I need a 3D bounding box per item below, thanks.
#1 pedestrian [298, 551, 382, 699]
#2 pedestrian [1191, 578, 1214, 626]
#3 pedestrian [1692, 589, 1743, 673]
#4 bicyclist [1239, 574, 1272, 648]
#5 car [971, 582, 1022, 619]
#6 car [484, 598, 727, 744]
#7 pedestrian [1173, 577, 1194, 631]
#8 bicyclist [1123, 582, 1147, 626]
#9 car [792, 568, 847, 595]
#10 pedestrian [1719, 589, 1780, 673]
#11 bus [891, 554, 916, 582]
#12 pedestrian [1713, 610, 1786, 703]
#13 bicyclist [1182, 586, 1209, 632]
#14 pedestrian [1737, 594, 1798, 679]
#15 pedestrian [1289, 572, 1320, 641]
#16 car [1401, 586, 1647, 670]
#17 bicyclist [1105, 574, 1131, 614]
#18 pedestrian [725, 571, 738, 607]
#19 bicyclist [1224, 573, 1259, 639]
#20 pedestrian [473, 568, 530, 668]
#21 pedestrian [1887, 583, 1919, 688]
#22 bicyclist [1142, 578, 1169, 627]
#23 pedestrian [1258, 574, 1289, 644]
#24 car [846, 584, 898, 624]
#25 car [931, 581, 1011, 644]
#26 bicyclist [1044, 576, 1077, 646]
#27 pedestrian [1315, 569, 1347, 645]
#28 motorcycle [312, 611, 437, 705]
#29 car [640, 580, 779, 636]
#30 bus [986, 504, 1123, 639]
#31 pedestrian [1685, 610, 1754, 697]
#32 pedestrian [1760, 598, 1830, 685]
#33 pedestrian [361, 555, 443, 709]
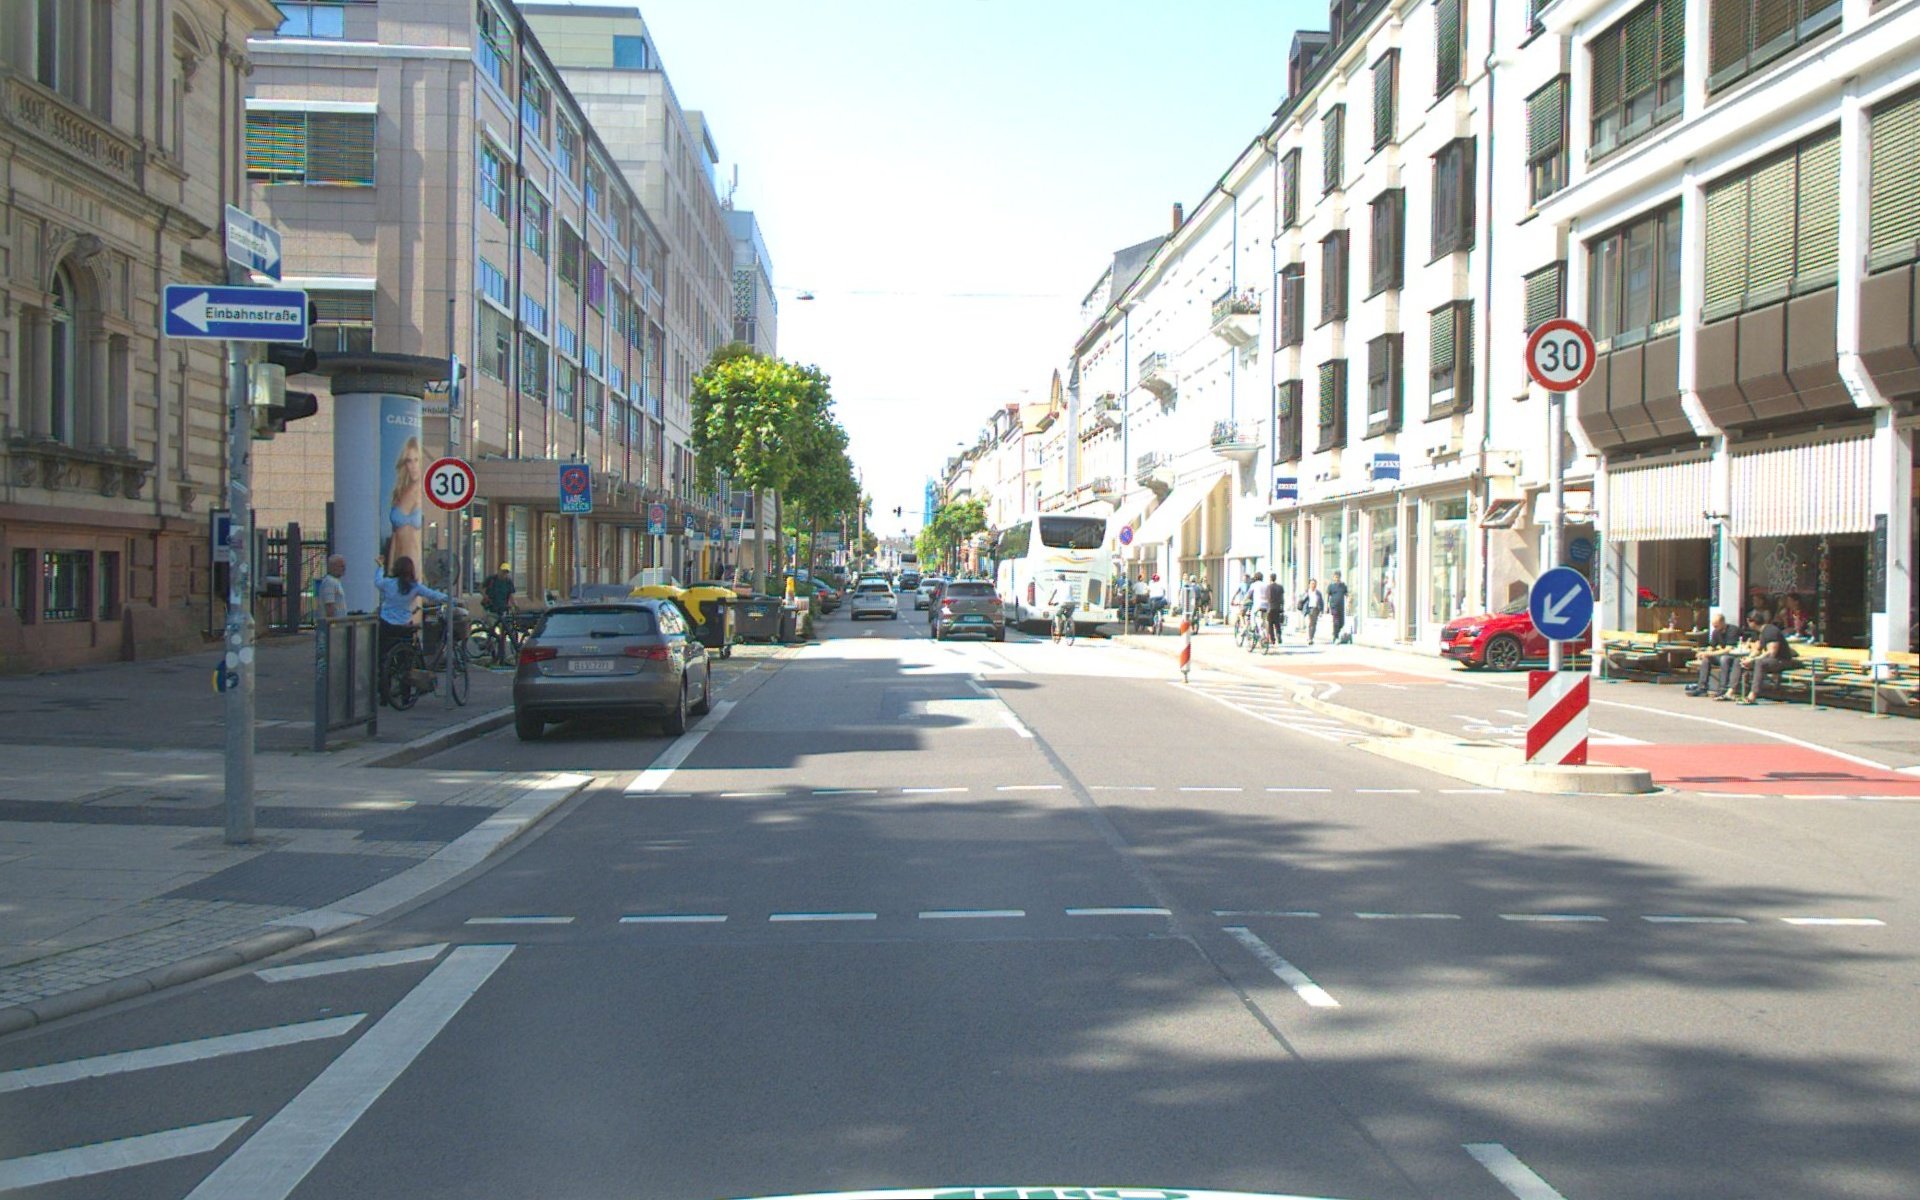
[{"bbox_3d":[-7.273,0.287,19.434,0.537,1.694,0.937,0,-1,6],"label":"pedestrian"},{"bbox_3d":[8.263,0.070,56.391,0.632,1.645,0.822,0,-1,0],"label":"pedestrian"},{"bbox_3d":[12.781,0.513,27.924,0.524,1.391,0.689,1,0,-3],"label":"pedestrian"},{"bbox_3d":[6.686,0.246,37.438,0.679,1.654,0.836,0,0,7],"label":"bicyclist"},{"bbox_3d":[1.648,0.002,75.729,1.778,1.491,4.576,2,2,-6],"label":"car"},{"bbox_3d":[-3.793,0.696,18.442,1.897,1.378,4.248,0,1,-2],"label":"car"},{"bbox_3d":[7.525,0.131,55.658,0.561,1.810,1.020,0,-1,0],"label":"pedestrian"},{"bbox_3d":[5.547,0.126,52.491,0.608,1.394,0.780,1,0,-5],"label":"bicyclist"},{"bbox_3d":[-12.514,-1.642,147.072,4.633,2.038,1.933,4,0,37],"label":"car"},{"bbox_3d":[13.278,0.508,27.828,0.729,1.391,0.584,1,0,-4],"label":"pedestrian"},{"bbox_3d":[-7.444,-4.180,217.068,2.717,3.668,8.963,0,1,-6],"label":"bus"},{"bbox_3d":[10.703,0.753,22.436,0.696,1.238,0.697,0,-1,5],"label":"pedestrian"},{"bbox_3d":[6.959,0.260,48.955,0.608,1.319,0.866,1,0,-5],"label":"bicyclist"},{"bbox_3d":[13.319,0.600,27.291,0.746,1.391,0.478,1,0,-4],"label":"pedestrian"},{"bbox_3d":[8.660,0.157,41.625,0.680,1.715,0.836,0,0,5],"label":"pedestrian"},{"bbox_3d":[10.455,0.535,30.847,3.963,1.521,1.841,0,-2,-2],"label":"car"},{"bbox_3d":[5.698,-0.215,59.680,0.772,1.403,0.722,1,0,-5],"label":"bicyclist"},{"bbox_3d":[-10.868,-0.510,78.571,0.555,1.686,0.635,1,0,-11],"label":"pedestrian"},{"bbox_3d":[6.821,0.145,40.092,0.608,1.556,0.868,1,0,-5],"label":"bicyclist"},{"bbox_3d":[-8.252,0.319,29.786,0.872,1.755,0.747,1,0,-10],"label":"pedestrian"},{"bbox_3d":[13.473,0.492,22.957,0.797,1.421,0.696,1,-1,-5],"label":"pedestrian"},{"bbox_3d":[5.695,0.071,48.170,0.608,1.394,0.780,1,0,-5],"label":"bicyclist"},{"bbox_3d":[7.933,0.238,41.843,0.607,1.750,0.835,0,-1,-1],"label":"pedestrian"},{"bbox_3d":[-3.398,0.120,63.516,1.827,1.466,3.996,-1,1,-5],"label":"car"},{"bbox_3d":[0.247,0.309,43.614,1.797,1.554,3.997,1,0,-4],"label":"car"},{"bbox_3d":[2.548,0.267,42.160,0.680,1.702,0.915,3,1,-2],"label":"bicyclist"},{"bbox_3d":[9.293,0.175,41.429,0.680,1.883,0.836,0,-1,5],"label":"pedestrian"},{"bbox_3d":[-6.840,0.650,19.437,0.444,1.015,2.162,2,0,6],"label":"motorcycle"},{"bbox_3d":[-7.553,0.207,49.768,3.981,1.520,1.927,3,2,38],"label":"car"},{"bbox_3d":[2.856,-0.897,54.391,2.825,3.807,12.417,2,0,-4],"label":"bus"},{"bbox_3d":[10.688,0.749,23.293,0.696,1.193,0.697,0,-1,5],"label":"pedestrian"},{"bbox_3d":[13.552,0.671,26.845,0.859,1.391,0.536,1,0,-4],"label":"pedestrian"},{"bbox_3d":[-6.373,0.363,18.915,0.680,1.725,0.690,0,-1,-1],"label":"pedestrian"}]
